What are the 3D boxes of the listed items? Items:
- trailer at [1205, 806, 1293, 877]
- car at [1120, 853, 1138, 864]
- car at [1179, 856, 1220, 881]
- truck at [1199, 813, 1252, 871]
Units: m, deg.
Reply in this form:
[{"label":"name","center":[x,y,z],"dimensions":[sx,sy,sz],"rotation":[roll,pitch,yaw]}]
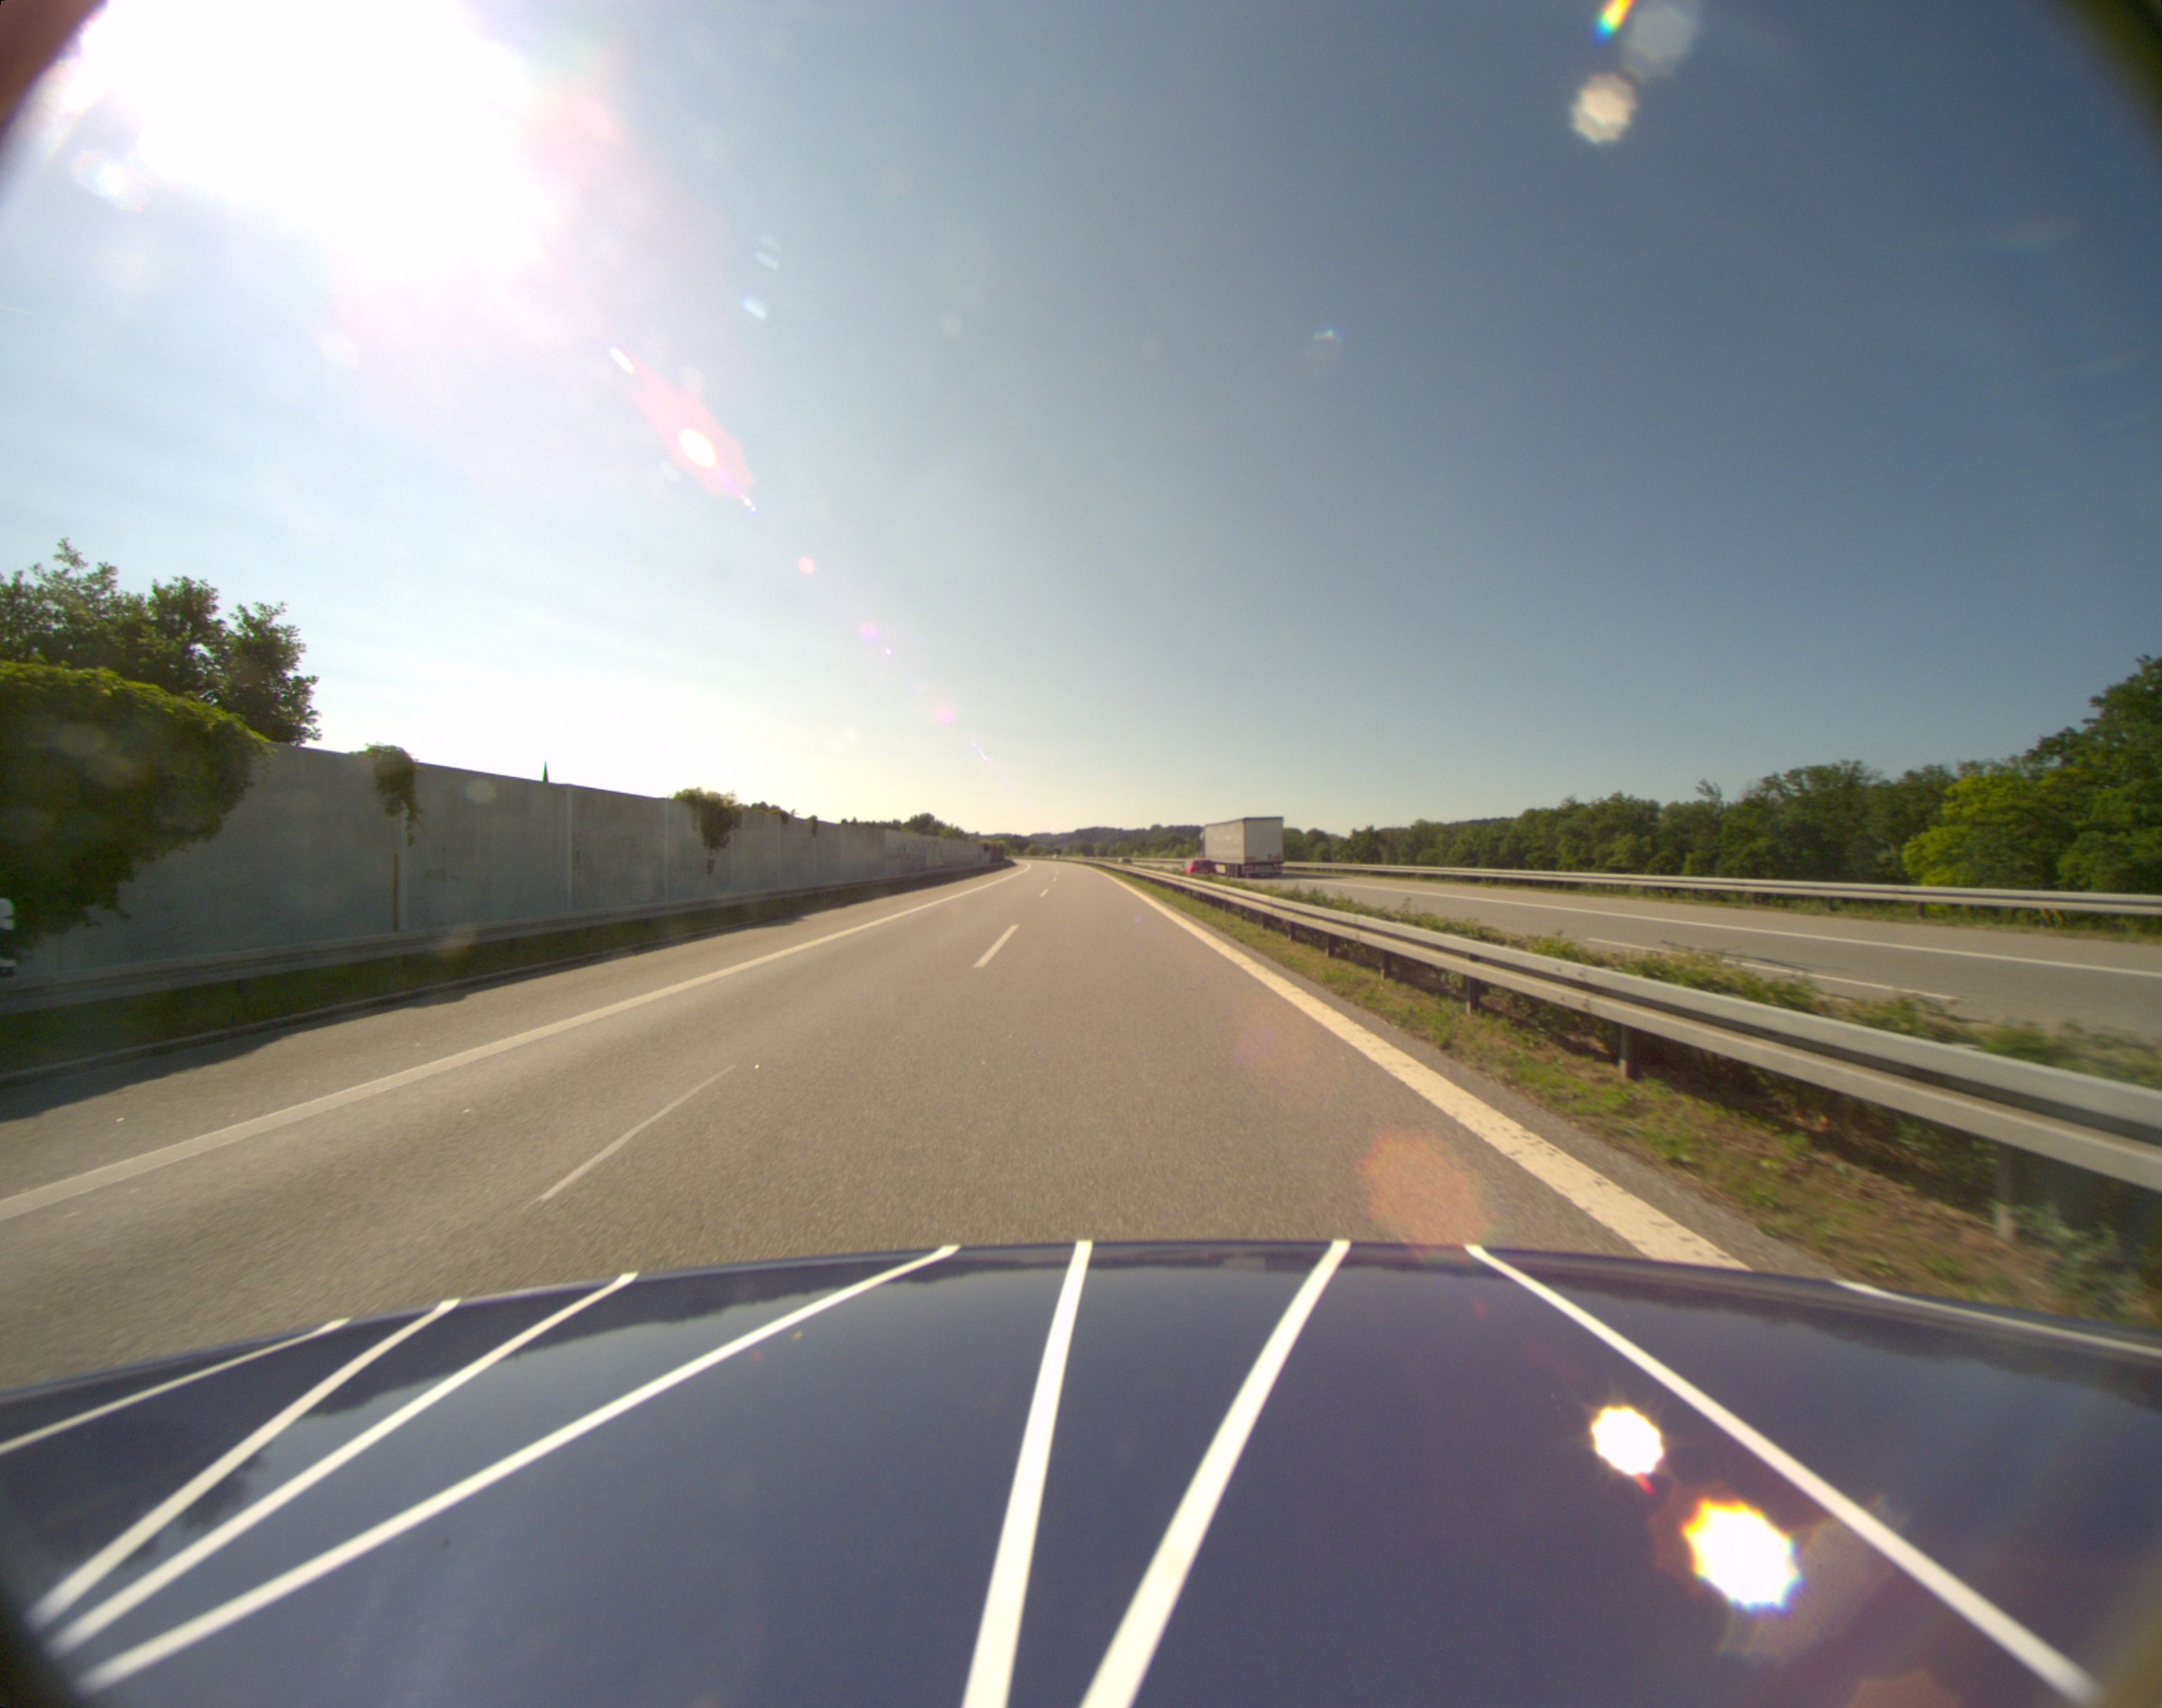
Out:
[{"label":"trailer","center":[11.755,-0.824,54.968],"dimensions":[3.103,4.428,13.746],"rotation":[-1,0,-1]},{"label":"car","center":[5.934,0.532,94.689],"dimensions":[1.772,1.395,3.999],"rotation":[-1,0,-3]},{"label":"car","center":[7.100,0.814,45.791],"dimensions":[1.771,1.395,3.999],"rotation":[-1,0,-2]},{"label":"truck","center":[11.658,-0.924,61.755],"dimensions":[3.103,4.428,5.111],"rotation":[-1,1,-1]}]
